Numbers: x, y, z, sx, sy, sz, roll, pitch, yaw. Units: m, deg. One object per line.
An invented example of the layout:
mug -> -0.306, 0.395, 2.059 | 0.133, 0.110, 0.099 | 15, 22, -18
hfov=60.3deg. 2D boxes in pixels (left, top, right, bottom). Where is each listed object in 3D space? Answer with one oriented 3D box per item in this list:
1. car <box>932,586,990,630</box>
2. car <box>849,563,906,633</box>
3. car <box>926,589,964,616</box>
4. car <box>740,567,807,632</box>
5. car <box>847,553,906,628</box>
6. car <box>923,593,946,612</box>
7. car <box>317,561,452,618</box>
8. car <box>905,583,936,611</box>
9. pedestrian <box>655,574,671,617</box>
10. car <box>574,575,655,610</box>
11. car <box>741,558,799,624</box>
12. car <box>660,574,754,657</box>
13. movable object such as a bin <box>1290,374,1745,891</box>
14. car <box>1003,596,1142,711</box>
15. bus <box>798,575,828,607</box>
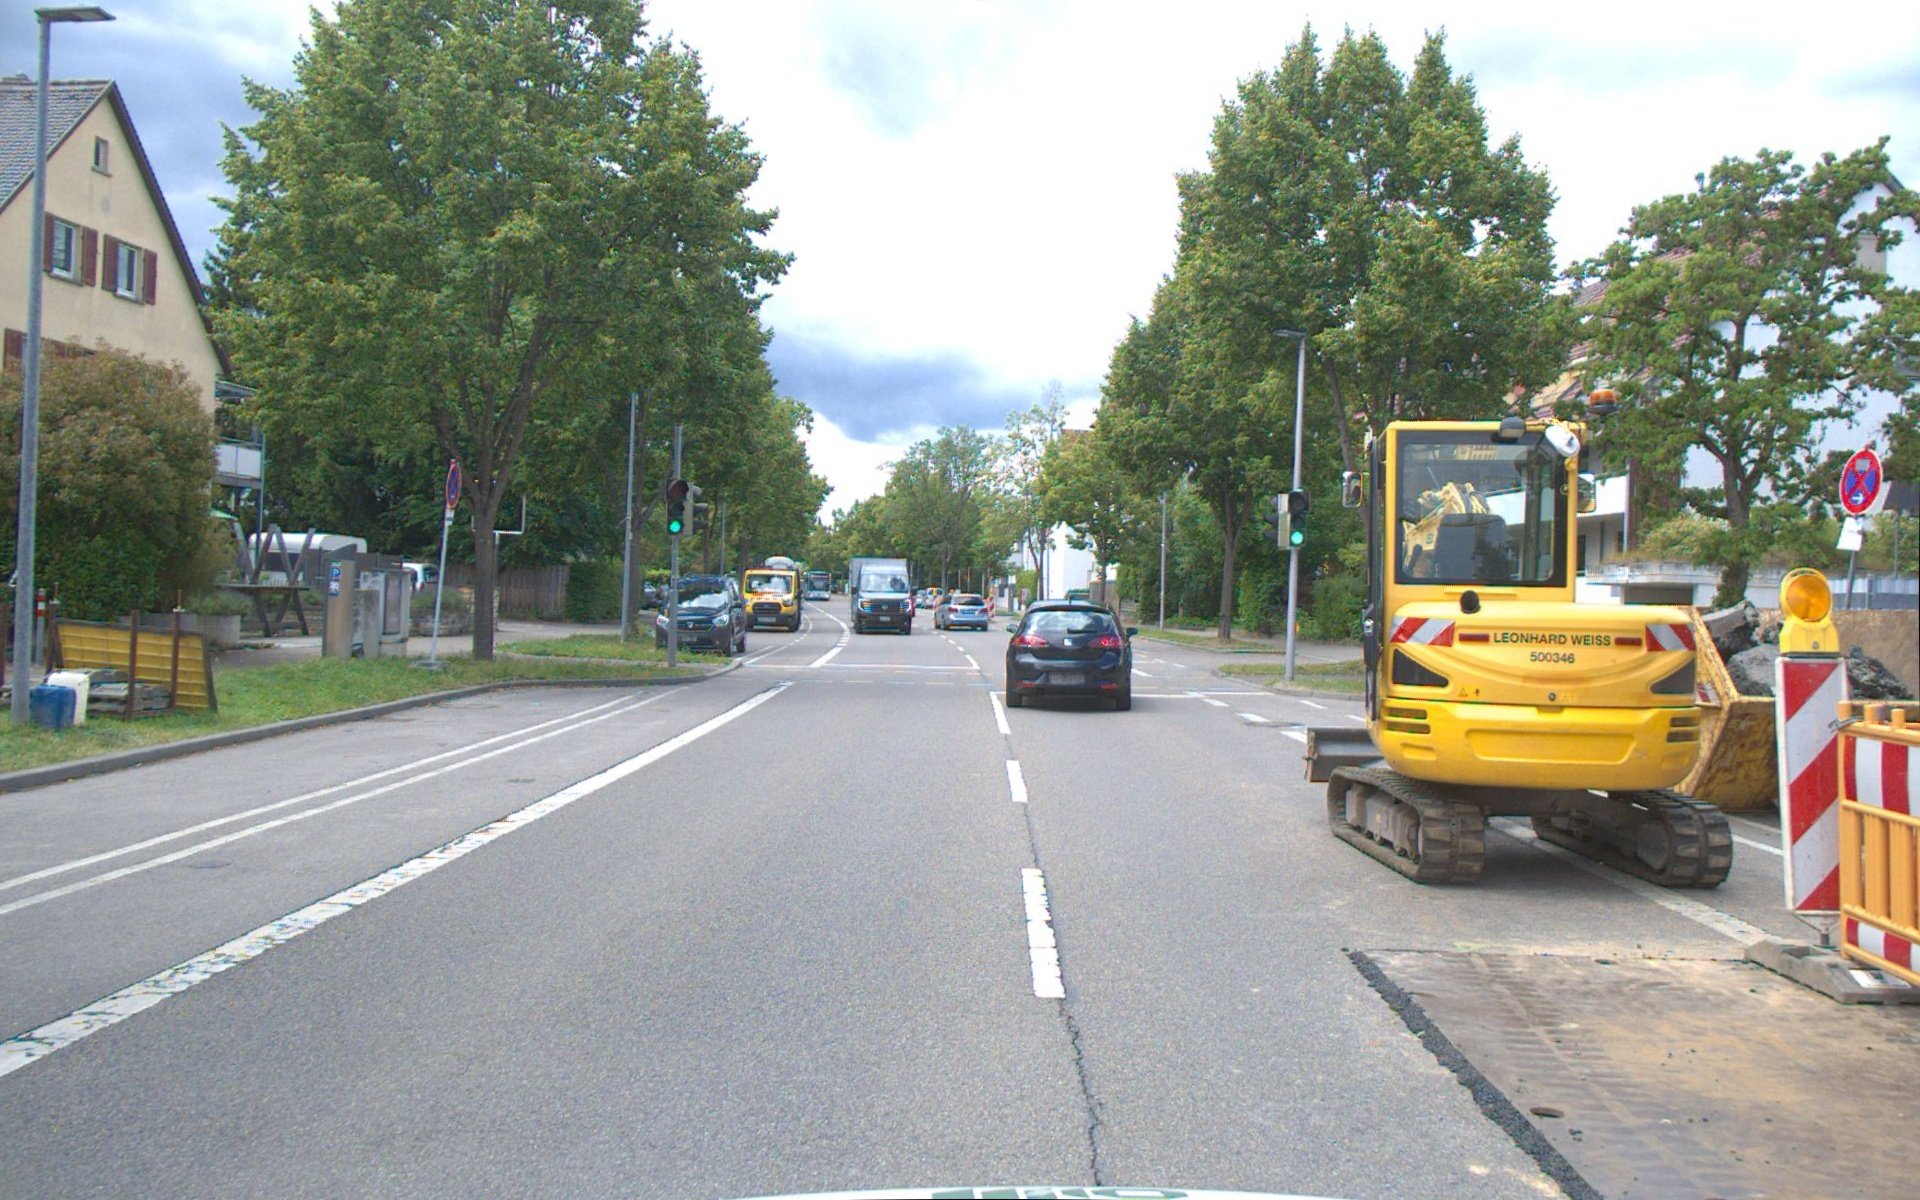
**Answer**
car -> 0.023, 0.313, 67.457 | 1.870, 1.715, 3.733 | 0, 0, -8
car -> -2.962, -0.085, 60.517 | 1.988, 2.426, 5.260 | 0, 0, -2
car -> -0.845, 0.138, 92.382 | 1.775, 1.440, 3.688 | 1, 0, -6
car -> -6.710, -0.041, 59.953 | 2.050, 2.213, 5.042 | 1, 0, -3
car -> -3.309, -0.372, 66.679 | 2.242, 2.840, 7.140 | 0, 0, -2
car -> -2.050, 0.191, 133.917 | 1.773, 1.440, 3.693 | 1, 0, 0
car -> -19.468, -0.345, 55.989 | 3.903, 1.800, 1.747 | 1, 0, 5
car -> -2.390, -0.182, 98.554 | 1.755, 1.651, 3.738 | 0, 0, -3
pedestrian -> -12.382, -0.174, 69.003 | 0.583, 1.772, 0.574 | 1, 0, -3
car -> -16.893, -0.383, 80.926 | 3.609, 1.622, 1.678 | 1, 0, -3
car -> -8.071, -0.385, 70.725 | 2.050, 2.672, 5.042 | 1, 0, -3
car -> -5.778, 0.329, 38.210 | 1.633, 1.803, 4.466 | 0, 0, -2
movable object such as a bin -> 3.233, 0.152, 10.376 | 1.731, 2.619, 3.741 | 1, 0, 3
car -> 1.568, 0.685, 23.328 | 1.781, 1.463, 3.741 | 1, 0, 3
bus -> -10.410, -0.640, 117.577 | 1.954, 2.160, 7.353 | 1, 0, -4
